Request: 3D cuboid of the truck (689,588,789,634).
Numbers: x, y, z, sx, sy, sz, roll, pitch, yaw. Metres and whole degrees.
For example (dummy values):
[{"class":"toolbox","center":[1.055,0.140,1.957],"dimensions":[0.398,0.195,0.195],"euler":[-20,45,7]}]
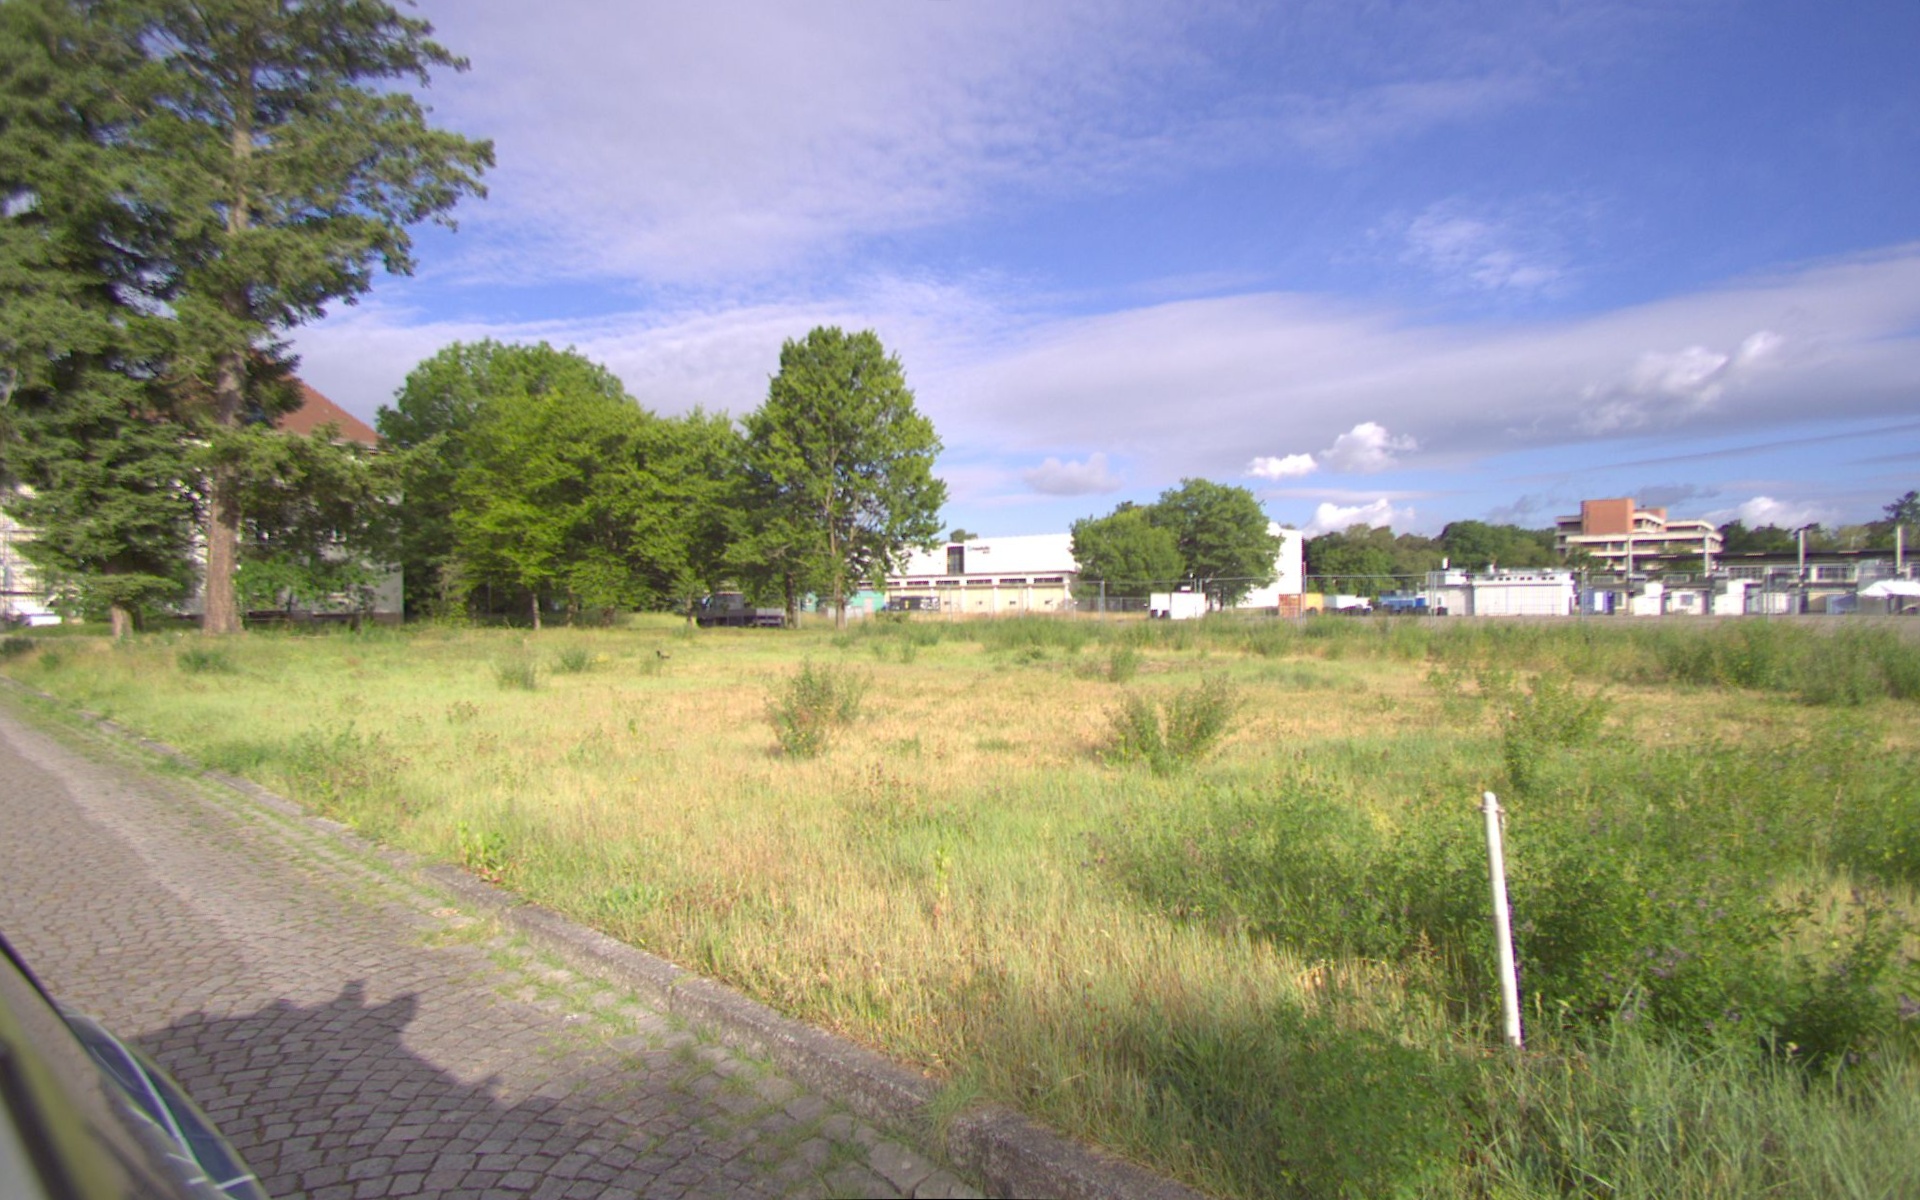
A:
[{"class":"truck","center":[-13.216,0.665,60.200],"dimensions":[6.961,2.606,2.384],"euler":[-1,-1,45]}]
